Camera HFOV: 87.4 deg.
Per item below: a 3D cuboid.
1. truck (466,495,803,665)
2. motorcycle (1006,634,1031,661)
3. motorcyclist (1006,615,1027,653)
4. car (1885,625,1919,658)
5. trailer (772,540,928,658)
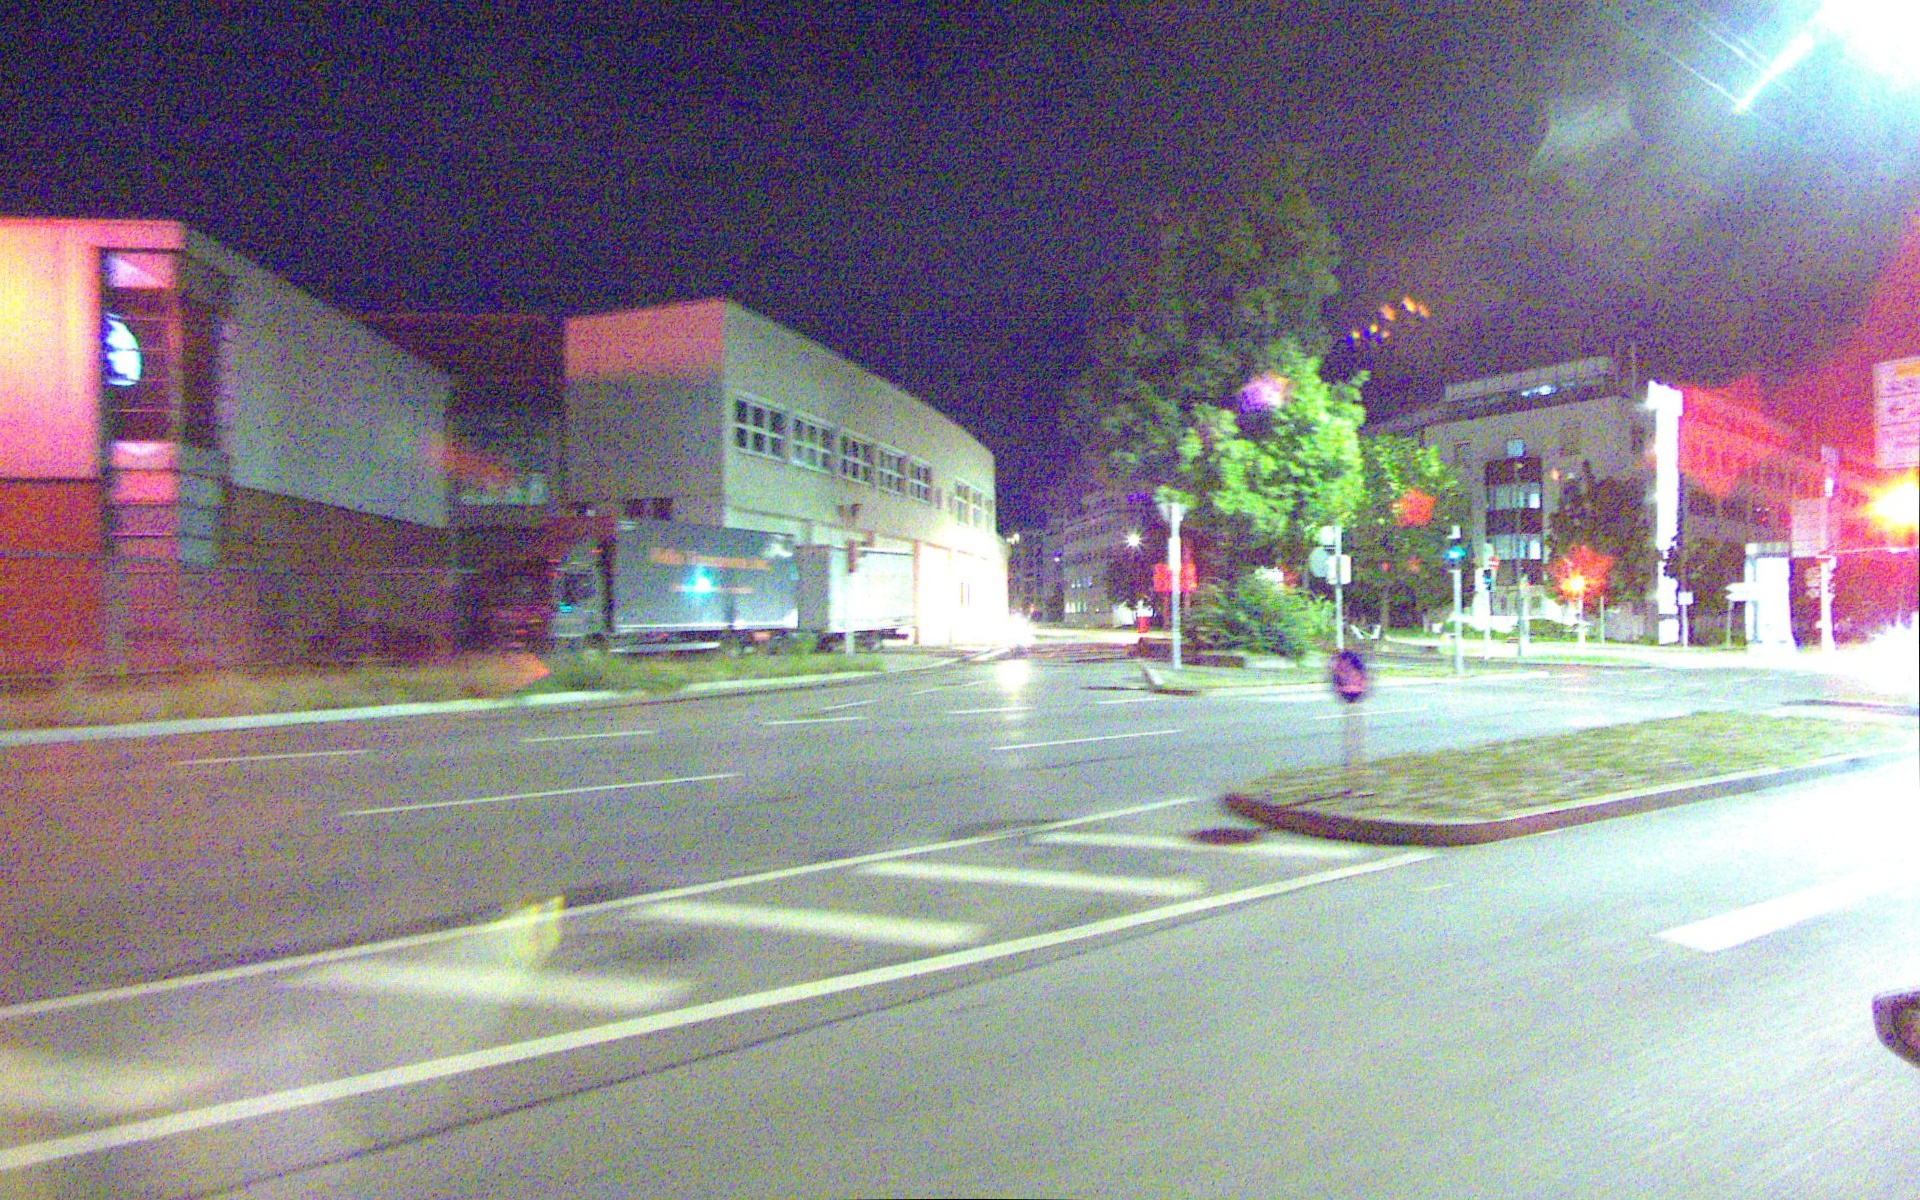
[{"bbox_3d":[-8.352,-0.320,27.643,2.893,3.846,9.547,0,-1,27],"label":"truck"},{"bbox_3d":[2.073,1.643,35.227,0.568,0.907,2.157,-2,-2,11],"label":"motorcycle"},{"bbox_3d":[1.970,1.186,35.146,0.635,1.278,0.579,1,-1,11],"label":"motorcyclist"},{"bbox_3d":[47.005,2.037,49.362,3.962,1.535,1.604,2,-1,-37],"label":"car"},{"bbox_3d":[-3.780,0.050,36.398,2.572,3.841,6.509,1,-1,25],"label":"trailer"}]
